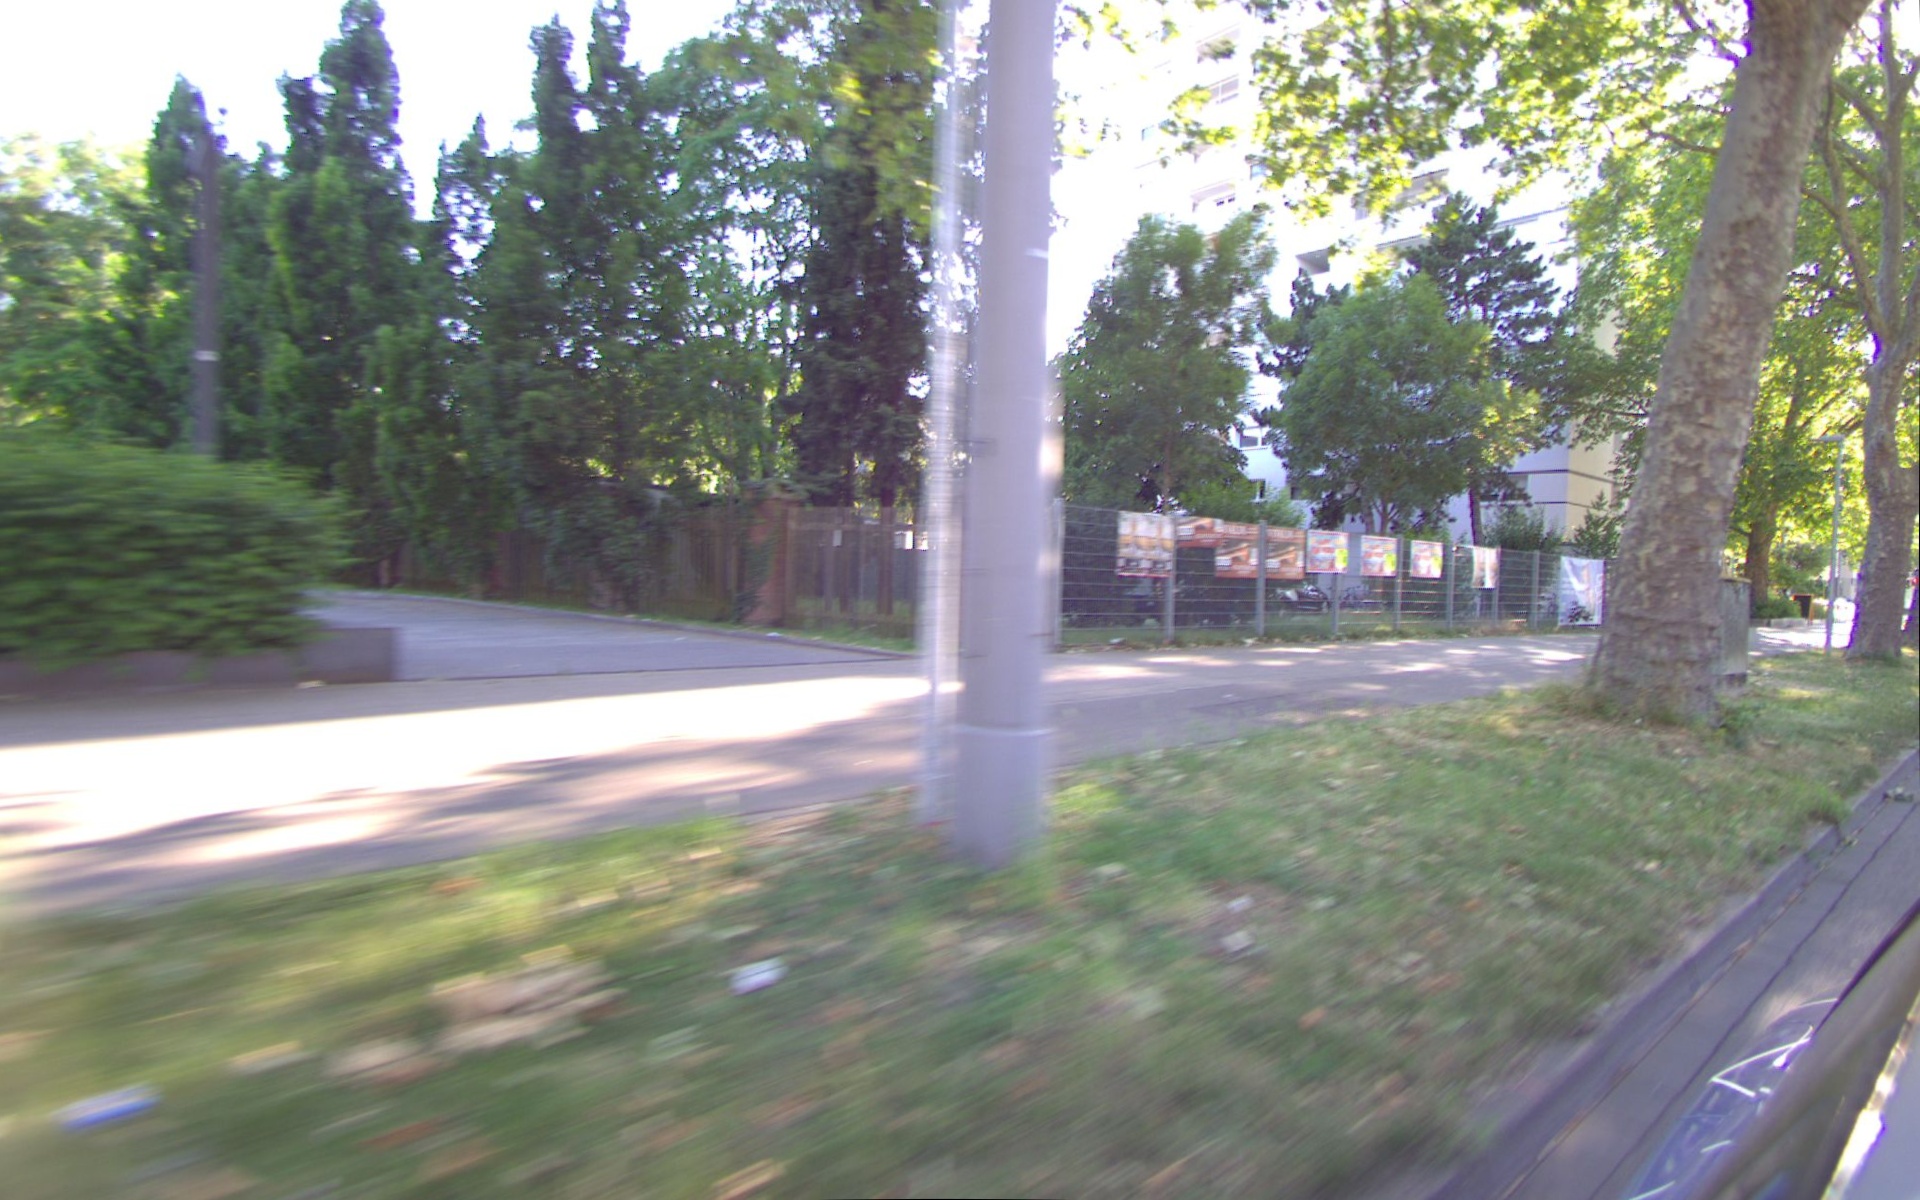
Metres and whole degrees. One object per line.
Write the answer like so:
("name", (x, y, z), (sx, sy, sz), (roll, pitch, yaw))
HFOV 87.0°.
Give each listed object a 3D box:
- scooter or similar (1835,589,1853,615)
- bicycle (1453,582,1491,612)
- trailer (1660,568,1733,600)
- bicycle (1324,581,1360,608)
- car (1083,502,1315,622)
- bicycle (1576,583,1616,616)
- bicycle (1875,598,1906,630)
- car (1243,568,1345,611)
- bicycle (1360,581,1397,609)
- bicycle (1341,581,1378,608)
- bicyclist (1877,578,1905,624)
("scooter or similar", (44.791, 0.107, 51.262), (1.269, 1.272, 0.561), (-1, 4, -45))
("bicycle", (20.830, -0.138, 41.163), (1.789, 1.192, 0.790), (0, 0, -41))
("trailer", (59.470, -1.322, 81.817), (4.474, 2.403, 1.896), (2, 1, 28))
("bicycle", (17.200, -0.253, 45.576), (1.789, 1.192, 0.790), (0, 0, -41))
("car", (5.818, -0.830, 24.074), (6.232, 2.531, 1.998), (0, 0, -39))
("bicycle", (23.744, -0.033, 37.777), (1.789, 1.192, 0.790), (0, 0, -41))
("bicycle", (32.512, 0.470, 35.345), (1.736, 1.039, 0.604), (0, 2, -42))
("car", (12.206, -0.388, 36.923), (3.935, 1.471, 1.994), (0, 1, -45))
("bicycle", (18.289, -0.240, 44.212), (1.789, 1.192, 0.790), (0, 0, -41))
("bicycle", (17.732, -0.247, 44.900), (1.789, 1.192, 0.790), (0, 0, -41))
("bicyclist", (32.484, 0.018, 35.306), (0.845, 1.570, 0.604), (0, 2, -42))
